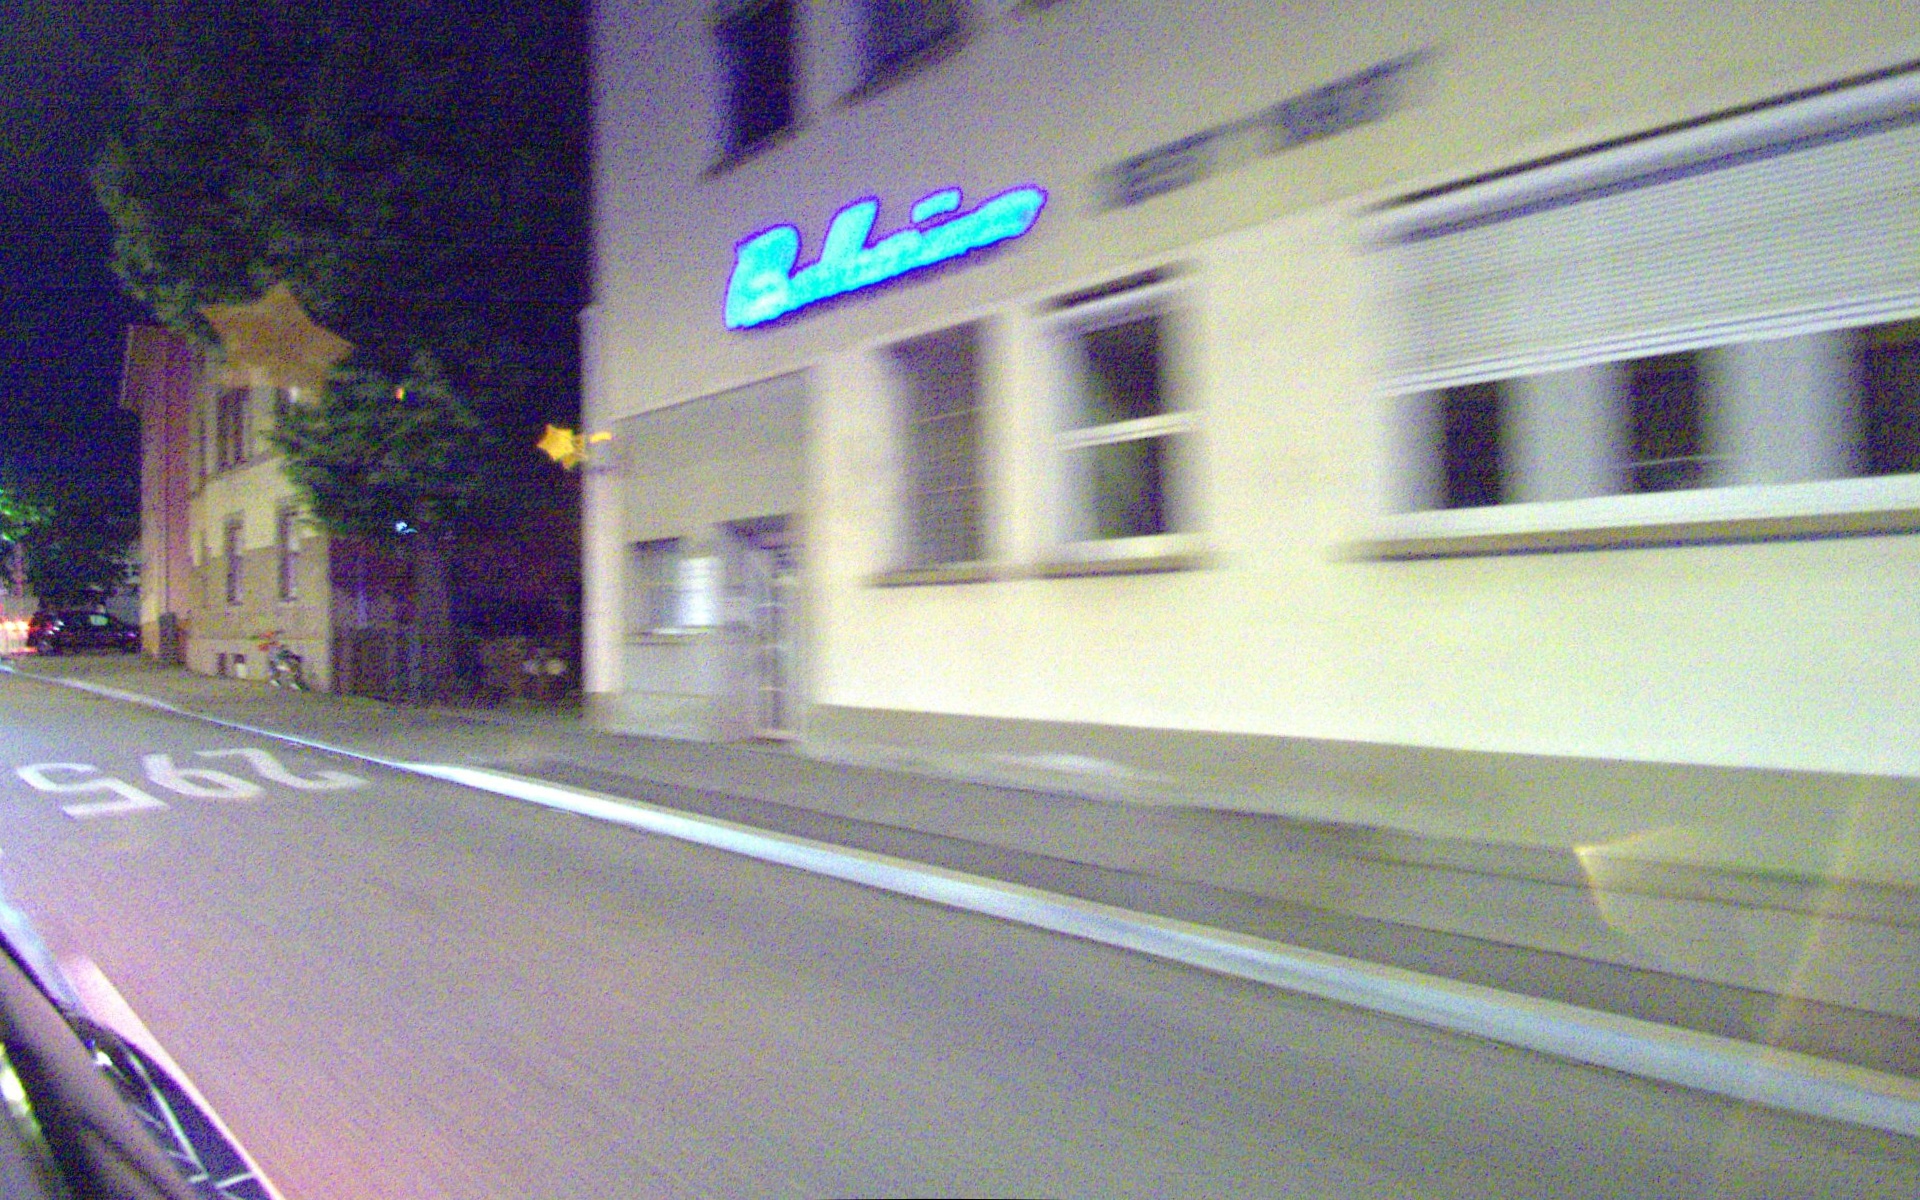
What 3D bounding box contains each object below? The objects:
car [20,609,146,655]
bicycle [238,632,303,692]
[{"bbox_3d":[-37.636,1.352,43.564,3.934,1.903,1.913,0,-1,-36],"label":"car"},{"bbox_3d":[-13.010,1.149,19.080,1.721,1.059,0.613,-1,-1,42],"label":"bicycle"}]
